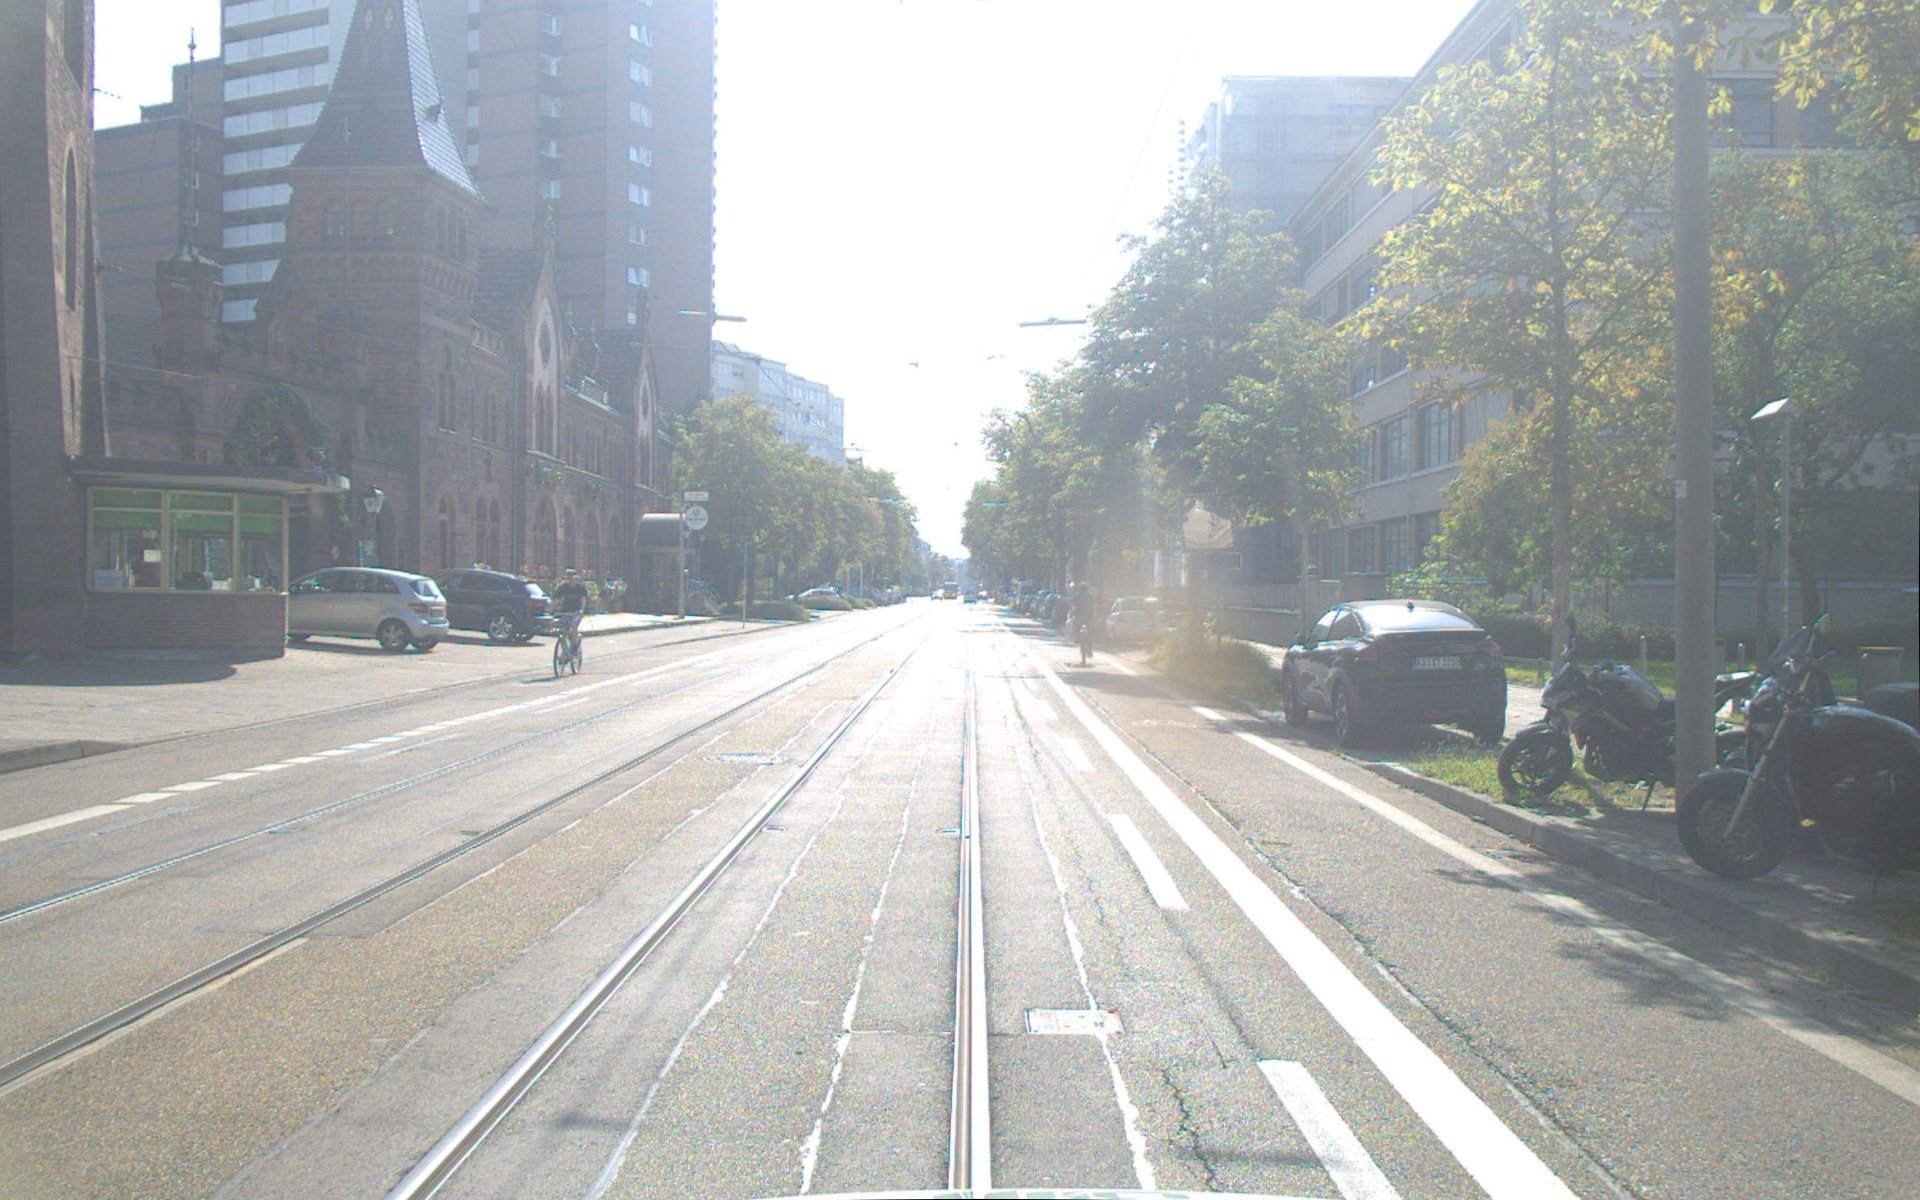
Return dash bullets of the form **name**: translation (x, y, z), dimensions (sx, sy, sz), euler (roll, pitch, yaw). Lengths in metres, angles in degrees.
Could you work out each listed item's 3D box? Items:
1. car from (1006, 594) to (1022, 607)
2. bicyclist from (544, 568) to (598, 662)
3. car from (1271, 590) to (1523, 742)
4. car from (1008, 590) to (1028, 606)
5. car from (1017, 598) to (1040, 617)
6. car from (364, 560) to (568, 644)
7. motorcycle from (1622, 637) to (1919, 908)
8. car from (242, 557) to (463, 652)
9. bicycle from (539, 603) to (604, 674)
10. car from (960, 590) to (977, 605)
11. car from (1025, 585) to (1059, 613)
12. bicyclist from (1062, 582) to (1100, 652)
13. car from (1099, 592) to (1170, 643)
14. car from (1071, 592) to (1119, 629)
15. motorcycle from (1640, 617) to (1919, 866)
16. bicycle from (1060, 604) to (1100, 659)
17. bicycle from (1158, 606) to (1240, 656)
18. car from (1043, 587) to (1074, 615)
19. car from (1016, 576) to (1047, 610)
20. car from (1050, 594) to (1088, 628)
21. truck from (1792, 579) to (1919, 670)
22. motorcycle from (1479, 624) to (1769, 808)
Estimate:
- **car**: translation (6.104, 0.051, 187.063), dimensions (1.655, 1.443, 3.635), euler (1, 0, 1)
- **bicyclist**: translation (-6.844, 0.255, 29.141), dimensions (0.683, 1.608, 1.087), euler (-2, 0, -2)
- **car**: translation (4.961, 0.669, 19.390), dimensions (1.705, 1.512, 4.436), euler (-1, 1, -1)
- **car**: translation (5.372, -0.180, 153.531), dimensions (1.717, 1.402, 4.719), euler (-1, 0, 1)
- **car**: translation (5.125, 0.531, 124.177), dimensions (1.583, 1.398, 4.828), euler (0, 0, 1)
- **car**: translation (-11.992, 0.052, 40.360), dimensions (4.310, 1.674, 1.956), euler (4, 0, -3)
- **motorcycle**: translation (4.555, 0.835, 8.436), dimensions (2.028, 1.264, 0.841), euler (-1, 0, 39)
- **car**: translation (-12.631, 0.078, 34.533), dimensions (3.819, 1.623, 1.823), euler (5, 0, 3)
- **bicycle**: translation (-6.820, 0.651, 29.130), dimensions (0.683, 1.178, 2.037), euler (-2, 0, -2)
- **car**: translation (1.019, -0.298, 202.291), dimensions (1.952, 1.870, 4.001), euler (1, 0, 1)
- **car**: translation (5.092, -0.080, 103.241), dimensions (1.718, 1.721, 4.395), euler (1, 0, -2)
- **bicyclist**: translation (2.621, 0.370, 35.984), dimensions (0.770, 1.495, 1.116), euler (1, 0, 2)
- **car**: translation (5.223, 0.506, 49.932), dimensions (1.607, 1.455, 3.988), euler (0, 0, -1)
- **car**: translation (5.560, 0.407, 68.574), dimensions (1.612, 1.453, 4.084), euler (0, 0, -1)
- **motorcycle**: translation (5.246, 0.785, 9.986), dimensions (0.832, 1.350, 2.048), euler (-1, 0, -28)
- **bicycle**: translation (2.628, 0.679, 36.380), dimensions (0.770, 1.164, 2.305), euler (1, 0, 2)
- **bicycle**: translation (5.419, 0.696, 37.550), dimensions (1.733, 1.082, 0.796), euler (-1, 0, -2)
- **car**: translation (5.469, 0.052, 92.513), dimensions (1.543, 1.510, 3.739), euler (-1, 0, 1)
- **car**: translation (5.801, -0.528, 134.681), dimensions (2.040, 2.597, 5.500), euler (-3, 0, -1)
- **car**: translation (5.269, 0.515, 80.197), dimensions (1.612, 1.537, 3.778), euler (-1, 0, 1)
- **truck**: translation (25.230, 0.644, 42.676), dimensions (6.431, 2.254, 2.121), euler (1, 0, 1)
- **motorcycle**: translation (4.915, 0.820, 12.282), dimensions (1.943, 1.246, 0.645), euler (1, 0, 26)
